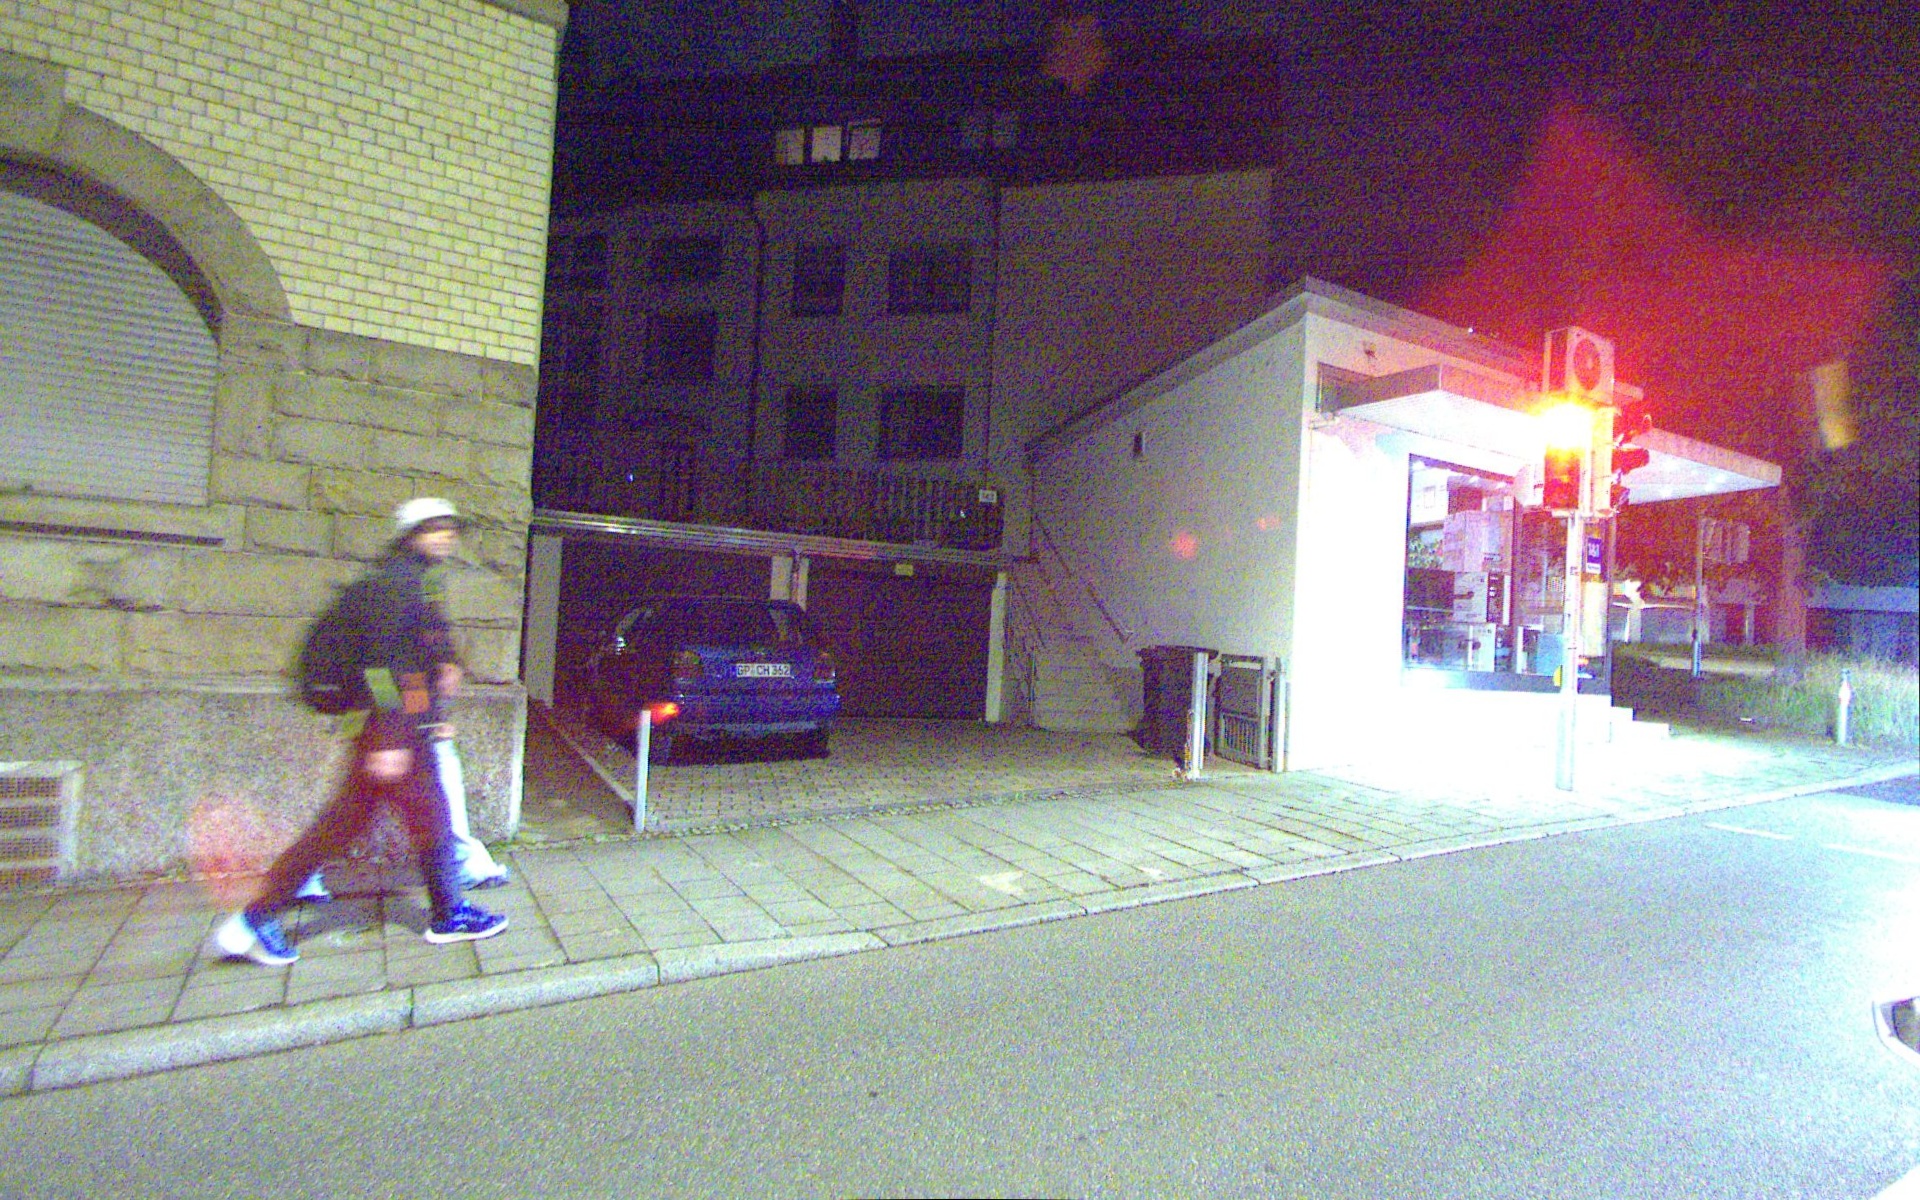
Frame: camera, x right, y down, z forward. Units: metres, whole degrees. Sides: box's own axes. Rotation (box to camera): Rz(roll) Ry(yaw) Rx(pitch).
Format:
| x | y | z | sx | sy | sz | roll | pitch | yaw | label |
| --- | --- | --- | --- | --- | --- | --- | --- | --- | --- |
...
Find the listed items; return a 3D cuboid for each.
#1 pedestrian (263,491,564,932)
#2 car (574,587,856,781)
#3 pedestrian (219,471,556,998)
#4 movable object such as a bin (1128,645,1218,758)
| x | y | z | sx | sy | sz | roll | pitch | yaw | label |
| --- | --- | --- | --- | --- | --- | --- | --- | --- | --- |
| -2.495 | 0.462 | 4.638 | 1.091 | 1.768 | 0.738 | 2 | 0 | -31 | pedestrian |
| -2.454 | 0.651 | 9.498 | 1.655 | 1.470 | 3.341 | 2 | -1 | -31 | car |
| -2.200 | 0.464 | 3.929 | 1.017 | 1.768 | 0.672 | 2 | 0 | -31 | pedestrian |
| 2.116 | 0.998 | 10.028 | 0.643 | 1.063 | 0.639 | 2 | 0 | -12 | movable object such as a bin |
